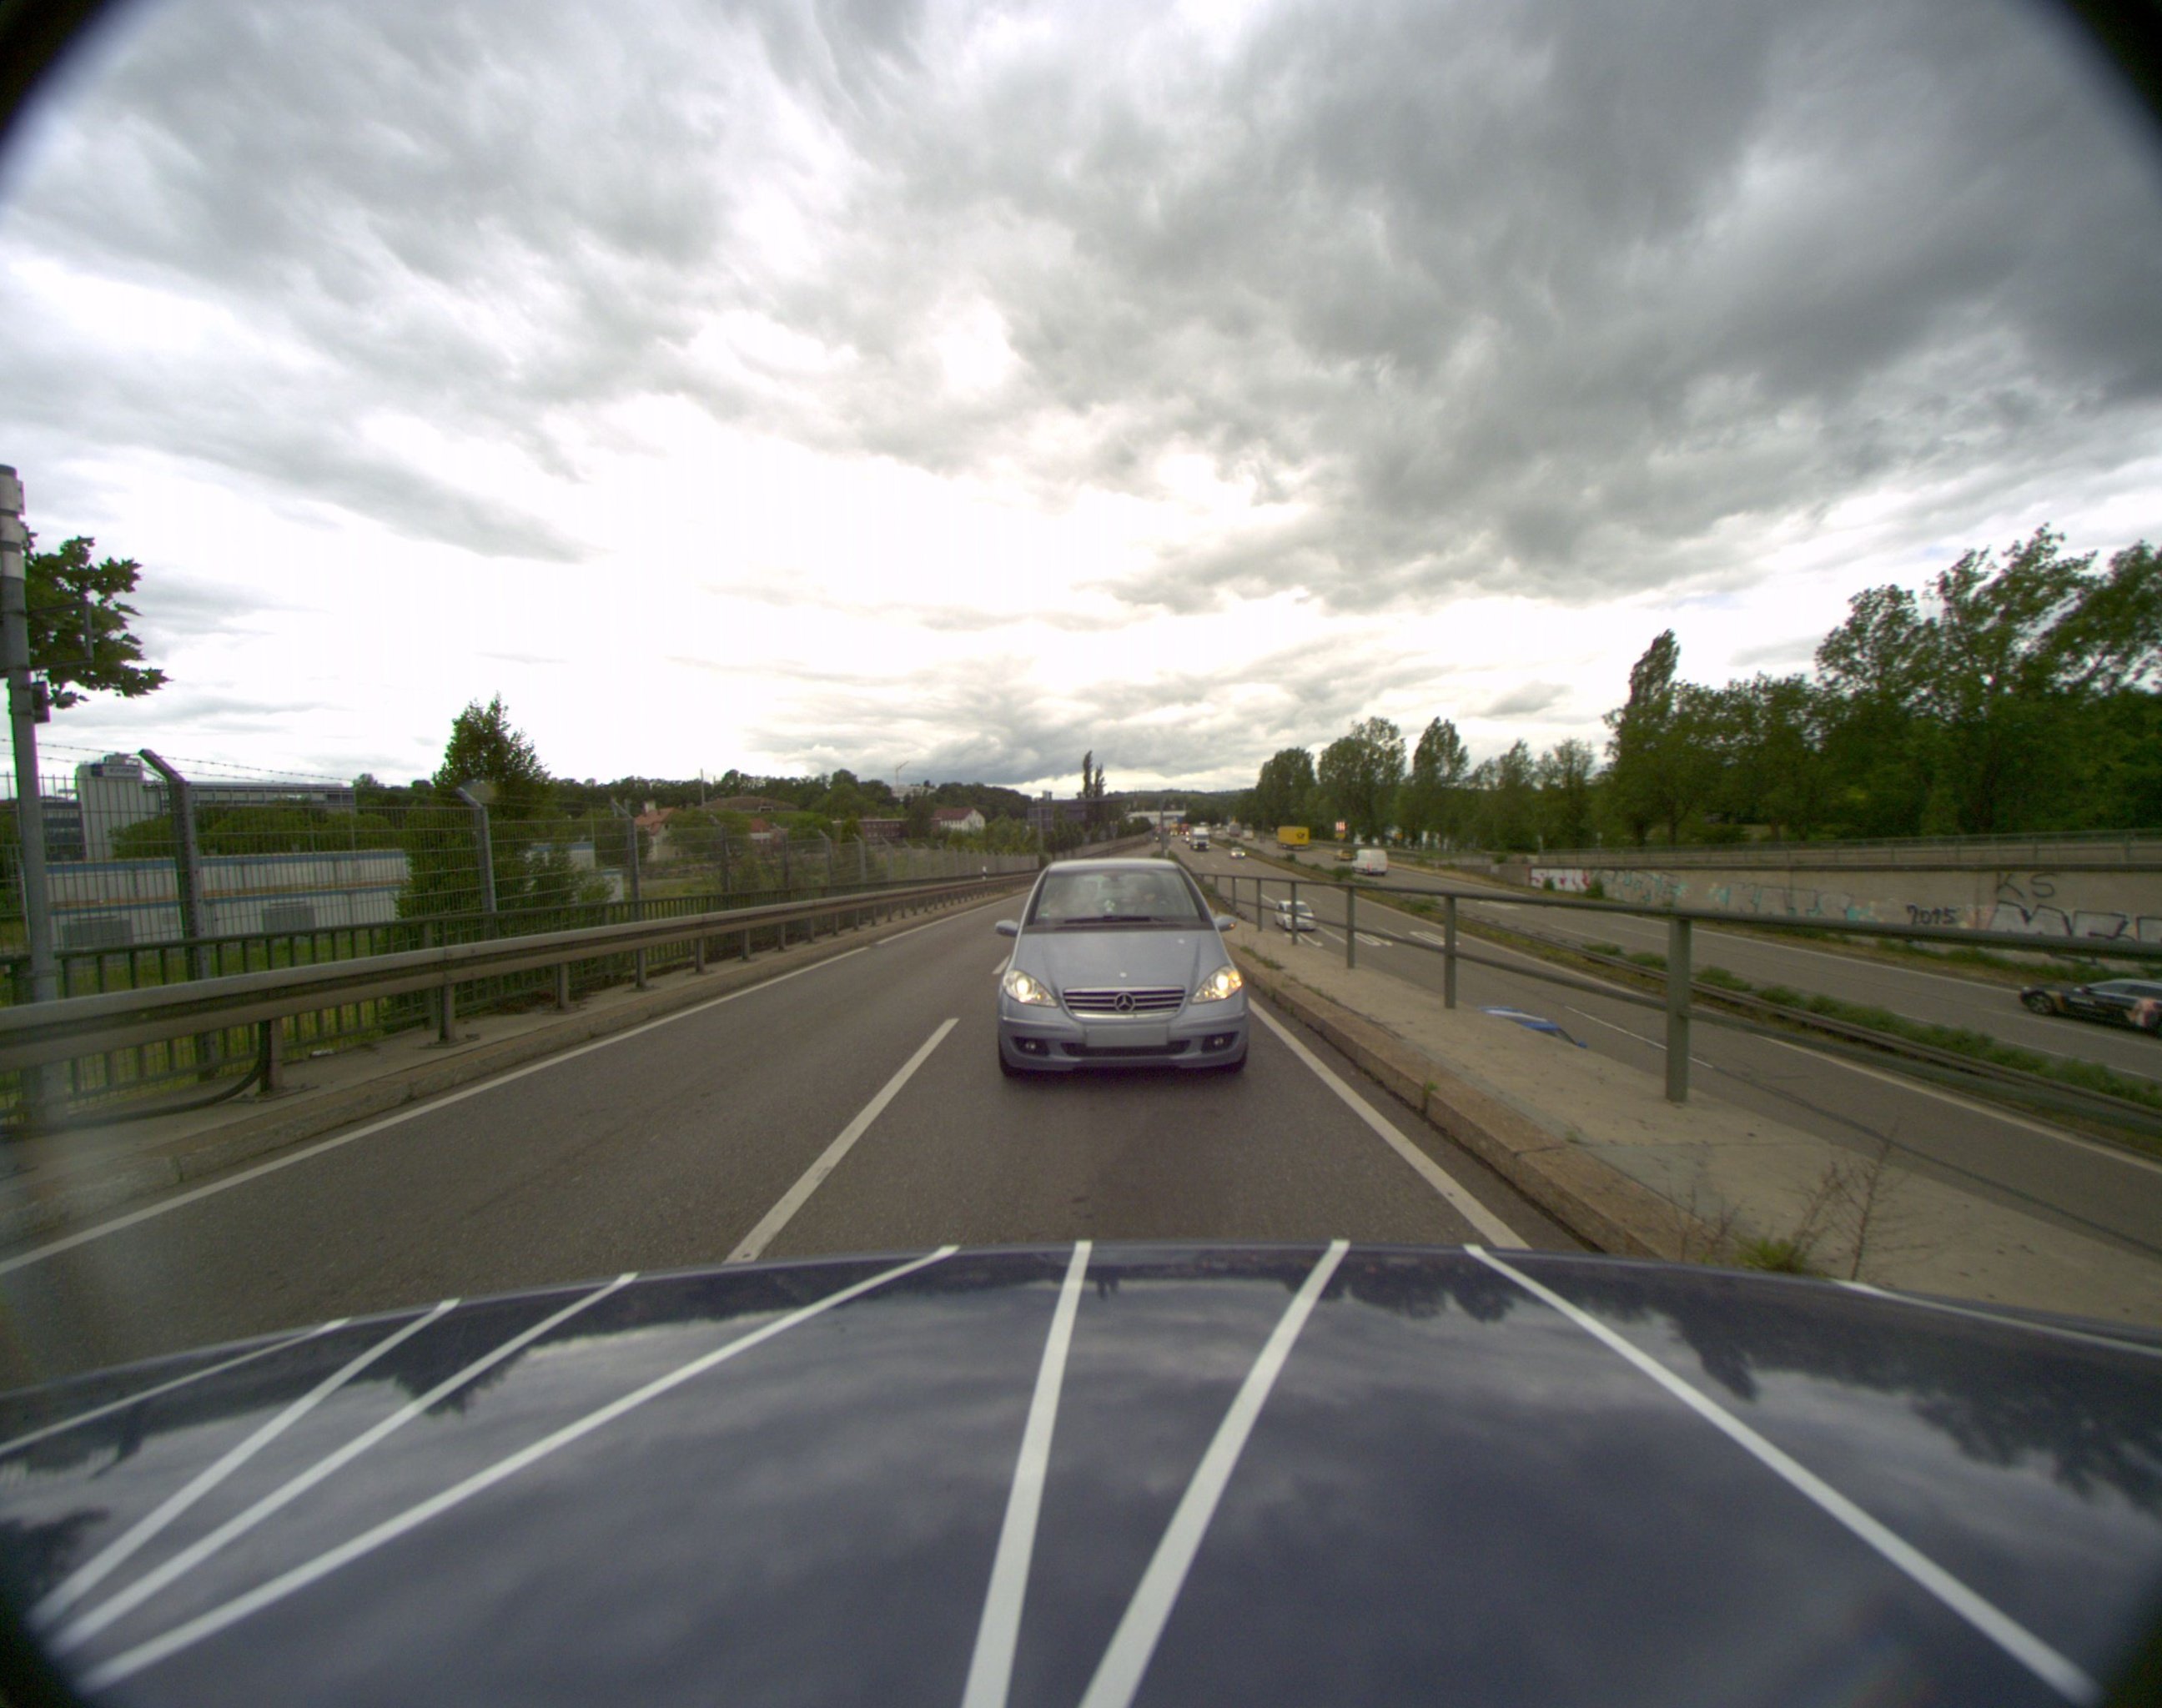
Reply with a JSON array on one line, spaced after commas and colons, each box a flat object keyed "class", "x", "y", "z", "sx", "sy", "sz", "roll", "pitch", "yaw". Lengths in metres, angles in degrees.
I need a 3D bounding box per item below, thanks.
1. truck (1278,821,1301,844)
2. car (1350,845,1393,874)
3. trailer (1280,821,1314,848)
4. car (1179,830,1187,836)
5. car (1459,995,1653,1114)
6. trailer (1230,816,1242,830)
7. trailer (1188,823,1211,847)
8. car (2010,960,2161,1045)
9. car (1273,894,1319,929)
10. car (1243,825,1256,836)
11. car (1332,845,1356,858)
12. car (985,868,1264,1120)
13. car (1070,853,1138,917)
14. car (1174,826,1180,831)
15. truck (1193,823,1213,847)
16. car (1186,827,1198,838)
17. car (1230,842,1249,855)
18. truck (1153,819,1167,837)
[{"class": "truck", "x": 38.591, "y": -4.052, "z": 140.793, "sx": 3.247, "sy": 4.159, "sz": 5.803, "roll": 0, "pitch": 3, "yaw": 5}, {"class": "car", "x": 29.788, "y": 0.533, "z": 78.145, "sx": 2.172, "sy": 2.580, "sz": 6.099, "roll": -1, "pitch": 3, "yaw": 1}, {"class": "trailer", "x": 37.975, "y": -3.553, "z": 133.953, "sx": 3.247, "sy": 4.239, "sz": 13.678, "roll": 0, "pitch": 3, "yaw": 5}, {"class": "car", "x": 25.713, "y": -5.408, "z": 191.600, "sx": 1.512, "sy": 1.365, "sz": 3.536, "roll": 0, "pitch": 3, "yaw": 3}, {"class": "car", "x": 10.780, "y": 4.514, "z": 17.667, "sx": 1.998, "sy": 1.524, "sz": 3.998, "roll": 0, "pitch": 3, "yaw": 1}, {"class": "trailer", "x": 49.940, "y": -10.034, "z": 245.309, "sx": 2.792, "sy": 4.117, "sz": 13.762, "roll": -1, "pitch": 3, "yaw": 7}, {"class": "trailer", "x": 21.734, "y": -3.686, "z": 140.087, "sx": 3.010, "sy": 4.087, "sz": 13.985, "roll": 0, "pitch": 3, "yaw": 4}, {"class": "car", "x": 29.931, "y": 4.235, "z": 21.380, "sx": 1.864, "sy": 1.643, "sz": 4.631, "roll": -1, "pitch": 3, "yaw": 1}, {"class": "car", "x": 11.946, "y": 3.155, "z": 42.374, "sx": 1.769, "sy": 1.520, "sz": 3.335, "roll": 0, "pitch": 3, "yaw": 3}, {"class": "car", "x": 44.215, "y": -6.218, "z": 199.580, "sx": 1.998, "sy": 2.614, "sz": 6.711, "roll": 1, "pitch": 3, "yaw": 3}, {"class": "car", "x": 34.890, "y": -0.363, "z": 100.880, "sx": 1.872, "sy": 1.449, "sz": 4.151, "roll": -1, "pitch": 3, "yaw": 1}, {"class": "car", "x": 0.304, "y": 0.920, "z": 6.784, "sx": 1.743, "sy": 1.534, "sz": 3.993, "roll": -1, "pitch": 0, "yaw": 1}, {"class": "car", "x": 0.675, "y": 0.892, "z": 23.187, "sx": 1.830, "sy": 1.701, "sz": 4.001, "roll": -2, "pitch": -1, "yaw": 1}, {"class": "car", "x": 32.744, "y": -8.608, "z": 258.316, "sx": 1.810, "sy": 1.658, "sz": 3.999, "roll": -1, "pitch": 3, "yaw": 4}, {"class": "truck", "x": 21.257, "y": -3.304, "z": 132.641, "sx": 3.010, "sy": 4.087, "sz": 5.872, "roll": 0, "pitch": 3, "yaw": 4}, {"class": "car", "x": 25.831, "y": -5.020, "z": 176.379, "sx": 2.104, "sy": 2.231, "sz": 6.498, "roll": 0, "pitch": 3, "yaw": 3}, {"class": "car", "x": 22.826, "y": -0.864, "z": 109.576, "sx": 1.854, "sy": 1.562, "sz": 4.436, "roll": -1, "pitch": 4, "yaw": 2}, {"class": "truck", "x": 19.446, "y": -6.415, "z": 187.450, "sx": 3.101, "sy": 3.990, "sz": 8.487, "roll": -1, "pitch": 4, "yaw": 5}]
